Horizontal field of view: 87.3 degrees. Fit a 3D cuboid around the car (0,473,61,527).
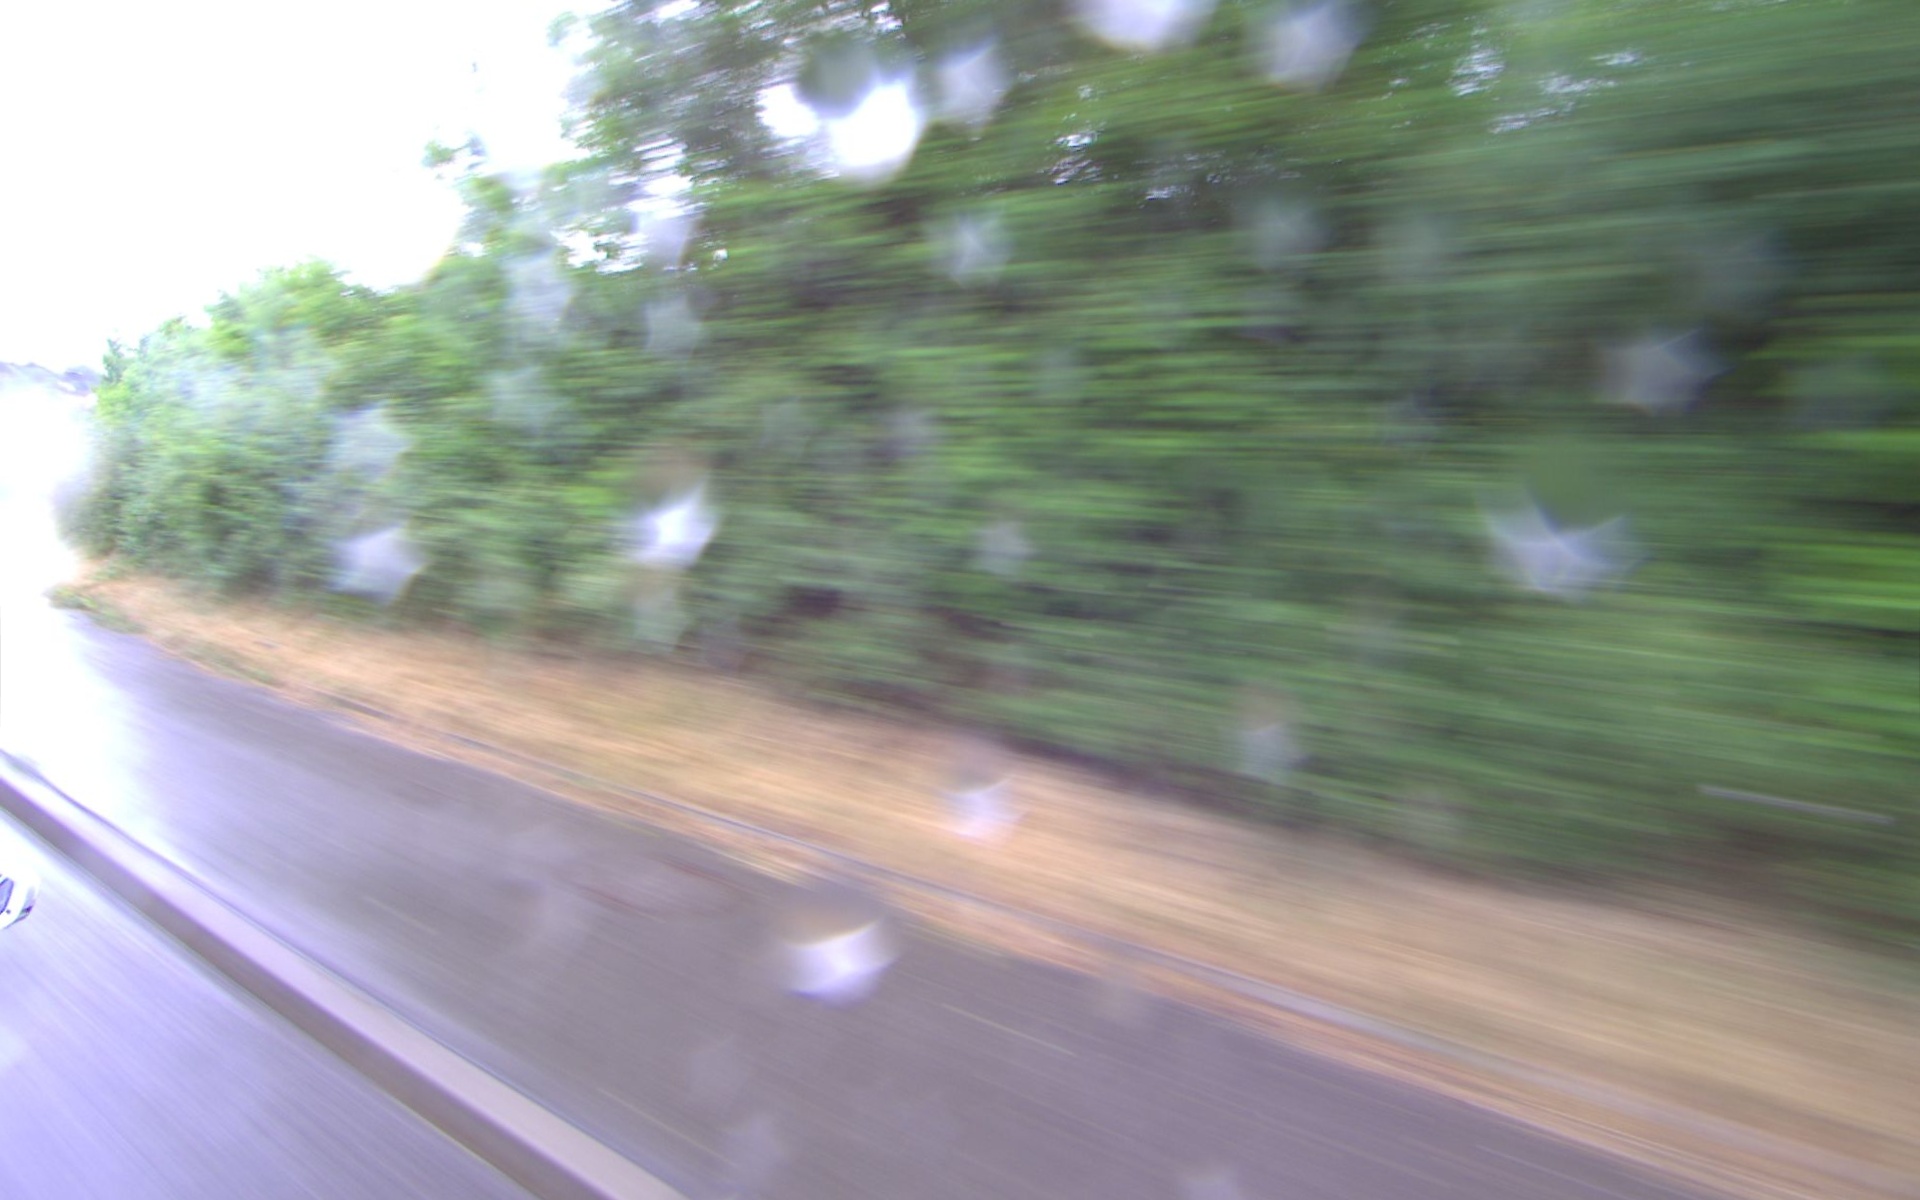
[{"bbox_3d":[-53.049,-5.656,56.614,2.030,2.443,5.420,11,-3,-27],"label":"car"}]
